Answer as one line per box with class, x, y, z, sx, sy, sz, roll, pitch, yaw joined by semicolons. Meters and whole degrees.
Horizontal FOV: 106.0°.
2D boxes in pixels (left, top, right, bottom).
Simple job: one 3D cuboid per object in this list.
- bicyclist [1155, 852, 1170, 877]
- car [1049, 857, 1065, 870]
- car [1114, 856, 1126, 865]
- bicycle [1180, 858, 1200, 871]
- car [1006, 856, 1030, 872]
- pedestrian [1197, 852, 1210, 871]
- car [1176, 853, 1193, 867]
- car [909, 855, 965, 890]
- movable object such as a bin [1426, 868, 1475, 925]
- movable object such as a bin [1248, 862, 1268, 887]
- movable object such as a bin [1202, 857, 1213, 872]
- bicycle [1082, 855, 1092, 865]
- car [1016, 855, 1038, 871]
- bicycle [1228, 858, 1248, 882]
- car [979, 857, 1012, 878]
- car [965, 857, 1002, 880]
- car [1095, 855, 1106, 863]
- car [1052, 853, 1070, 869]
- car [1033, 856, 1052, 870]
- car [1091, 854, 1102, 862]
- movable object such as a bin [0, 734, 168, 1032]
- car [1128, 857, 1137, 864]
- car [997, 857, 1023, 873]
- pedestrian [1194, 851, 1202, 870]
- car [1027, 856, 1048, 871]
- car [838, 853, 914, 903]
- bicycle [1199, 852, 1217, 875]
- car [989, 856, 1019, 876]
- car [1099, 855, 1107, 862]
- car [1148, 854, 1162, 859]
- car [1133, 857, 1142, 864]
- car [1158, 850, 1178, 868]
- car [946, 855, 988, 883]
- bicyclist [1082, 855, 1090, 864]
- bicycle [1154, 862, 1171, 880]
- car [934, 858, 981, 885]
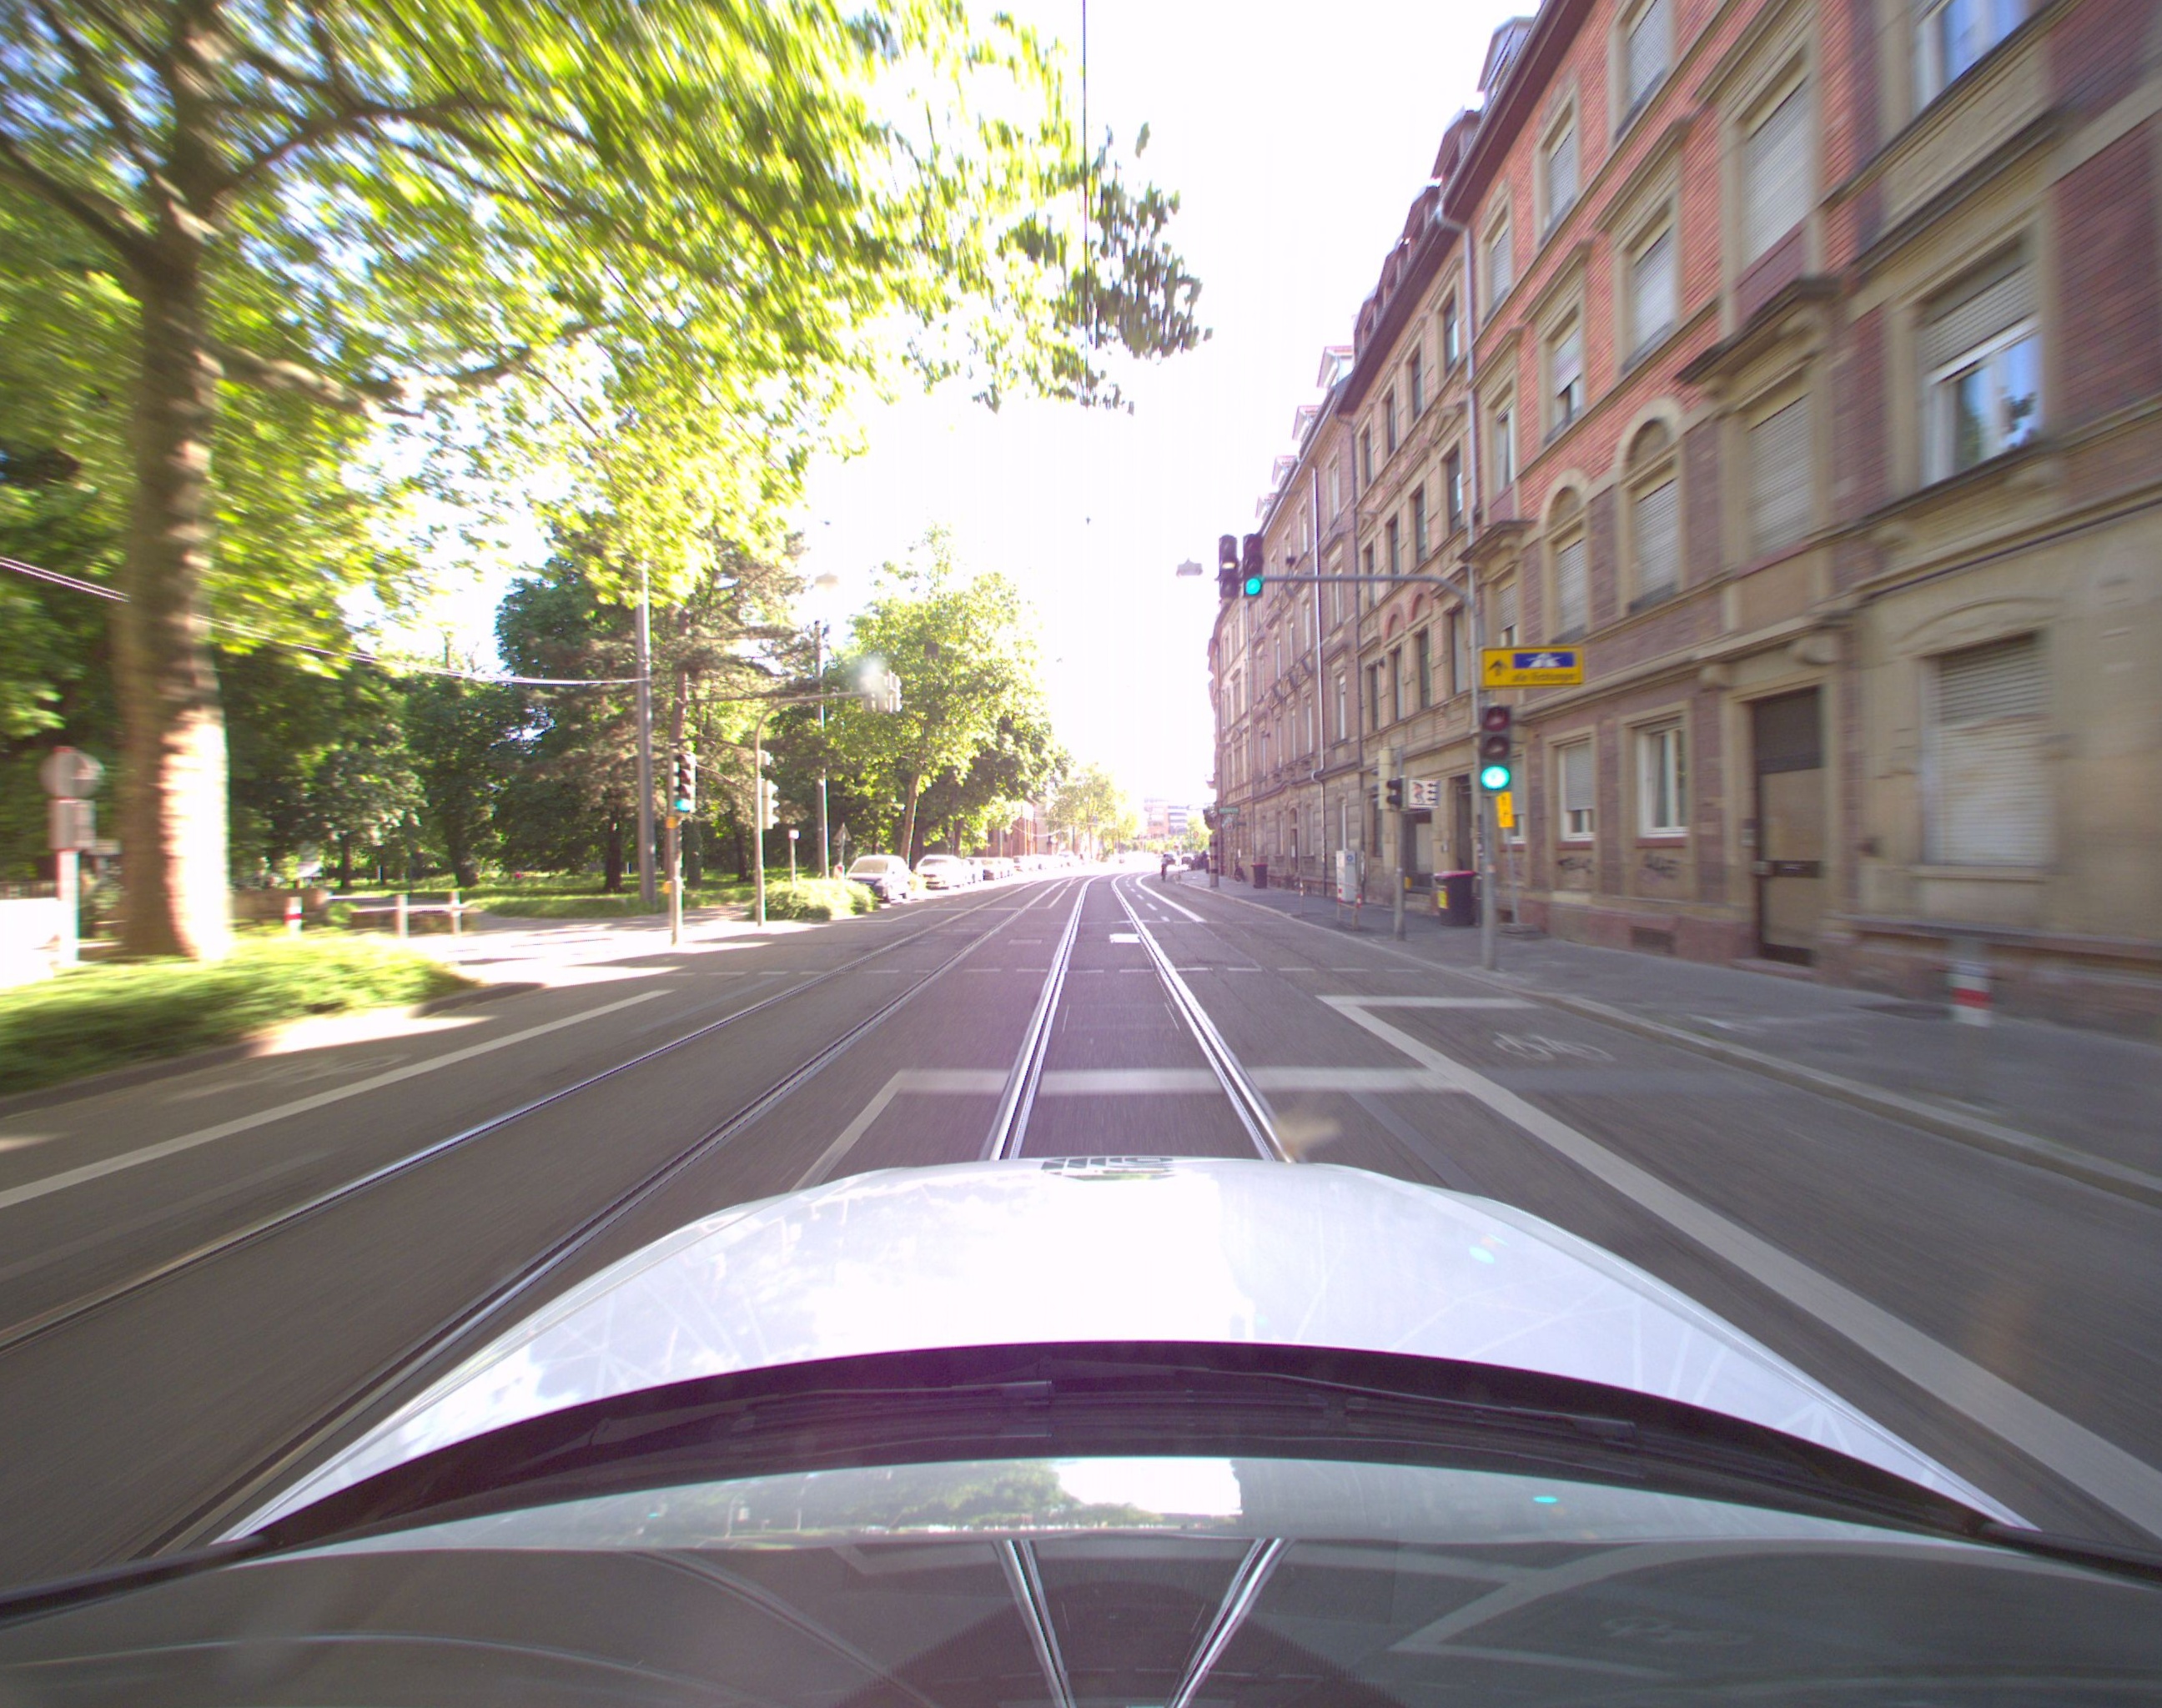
bicyclist;5.013;0.639;50.354;0.835;1.558;0.965;0;-1;0
car;-3.045;1.163;103.998;1.741;1.587;4.047;0;-1;4
car;6.580;1.126;136.938;1.740;1.422;4.049;0;-1;6
bicycle;9.529;0.920;71.053;0.633;1.118;2.312;0;-1;38
car;-6.004;0.954;78.247;1.741;1.495;4.047;0;-1;4
pedestrian;11.467;0.681;76.322;1.051;1.760;1.332;0;-1;1
car;14.644;0.846;115.105;2.019;1.849;4.300;0;-1;2
car;-6.977;0.872;39.768;1.741;1.608;4.047;0;-1;4
movable object such as a bin;7.340;0.830;16.205;0.618;1.110;0.780;0;-1;-2
movable object such as a bin;7.469;0.856;34.390;0.671;1.036;0.813;-1;1;1
movable object such as a bin;9.426;0.790;60.733;0.693;1.092;0.741;0;-1;-2
bicycle;0.914;0.917;129.135;1.227;1.572;2.903;0;-1;8
car;-5.497;0.958;83.310;1.741;1.587;4.047;0;-1;4
bicycle;7.832;0.790;40.721;0.637;1.118;2.298;0;-1;2
car;-6.372;1.019;60.859;1.741;1.506;4.047;0;-1;4
car;-6.564;0.966;55.304;1.741;1.509;4.047;0;-1;4
car;3.756;0.991;156.667;1.740;1.422;4.049;0;-1;6
car;-2.673;0.952;109.040;2.049;2.052;4.047;0;-1;4
car;-4.355;1.060;93.615;1.741;1.587;4.047;0;-1;4
car;2.831;0.751;146.644;1.740;1.422;4.049;0;-1;6
movable object such as a bin;-10.769;0.246;5.498;2.488;2.645;5.985;0;0;-2
car;10.585;1.290;167.392;1.740;1.422;4.049;0;-1;6
car;-6.316;1.001;72.815;1.741;1.364;4.047;0;-1;4
pedestrian;11.398;0.641;79.114;0.779;1.889;0.973;0;-1;9
car;-4.708;1.013;88.744;1.741;1.587;4.047;0;-1;4
car;-7.245;0.829;29.106;1.538;1.658;3.766;0;-1;4
bicycle;8.669;0.663;55.443;0.964;1.515;3.257;0;-1;13
car;-6.143;0.961;65.277;1.741;1.587;4.047;0;-1;4
car;5.224;1.061;194.651;1.740;1.625;4.049;0;-1;6
car;21.736;0.651;240.156;4.004;1.422;1.759;0;-1;11
car;12.351;1.363;177.189;1.740;1.422;4.049;0;-1;6
car;10.265;0.578;95.973;1.986;2.014;4.001;0;-1;1
car;-6.935;0.890;49.790;1.741;1.587;4.047;0;-1;4
bicyclist;0.849;0.893;129.110;1.071;1.427;1.149;0;-1;9
bicycle;5.005;1.039;50.215;0.853;1.088;2.488;0;-1;1
car;-6.856;0.938;45.435;1.741;1.422;4.047;0;-1;4
